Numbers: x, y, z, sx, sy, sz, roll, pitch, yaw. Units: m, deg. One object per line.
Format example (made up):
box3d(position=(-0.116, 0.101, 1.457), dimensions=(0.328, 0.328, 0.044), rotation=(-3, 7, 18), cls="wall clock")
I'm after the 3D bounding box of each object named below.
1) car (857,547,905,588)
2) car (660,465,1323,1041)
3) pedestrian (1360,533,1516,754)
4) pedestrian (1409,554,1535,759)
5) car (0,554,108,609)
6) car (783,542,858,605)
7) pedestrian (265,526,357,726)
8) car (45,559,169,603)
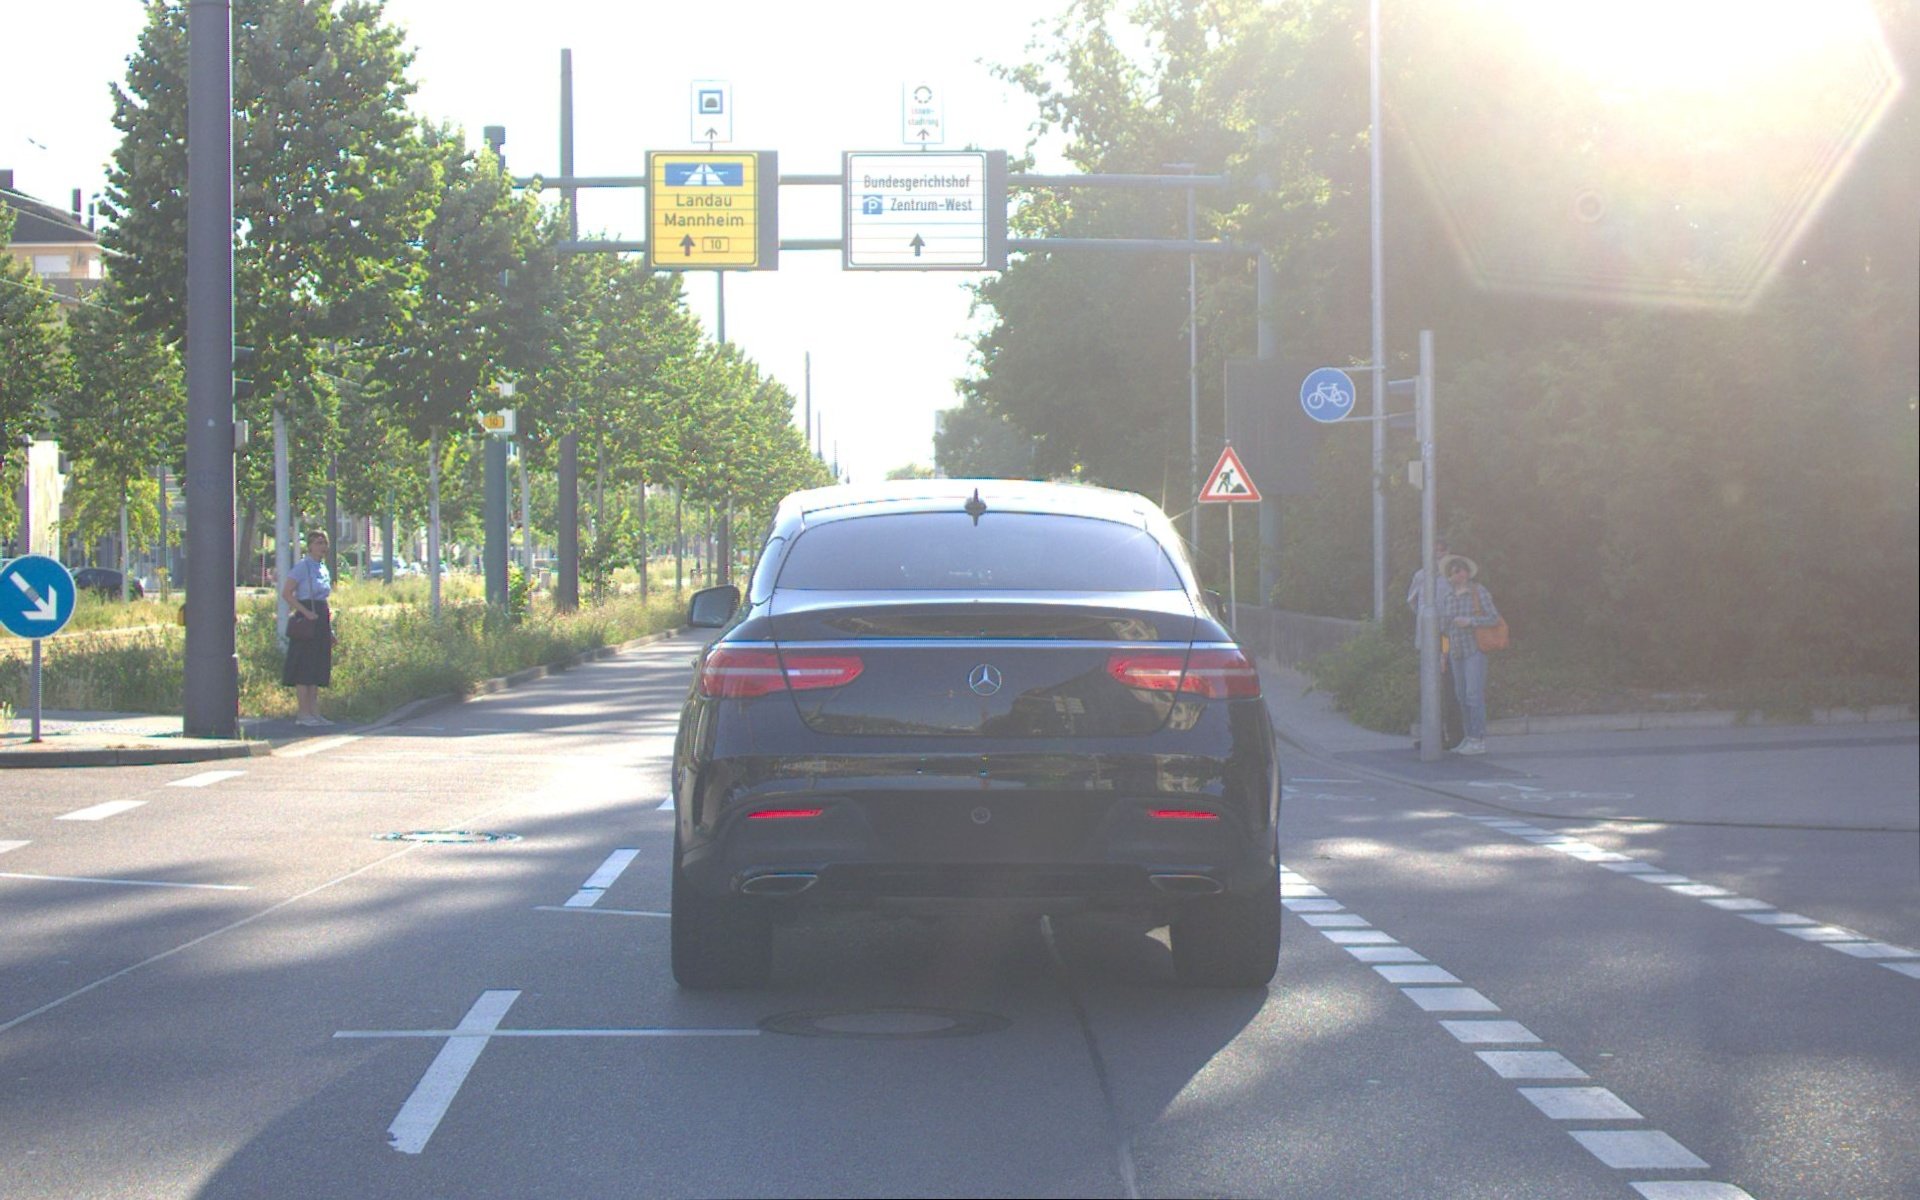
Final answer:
box3d(position=(-3.189, -1.333, 139.463), dimensions=(1.885, 1.575, 4.000), rotation=(1, 1, -1), cls="car")
box3d(position=(-0.001, 0.437, 12.450), dimensions=(1.993, 1.728, 4.001), rotation=(1, 1, -3), cls="car")
box3d(position=(4.025, 0.359, 28.995), dimensions=(0.857, 1.796, 0.907), rotation=(-3, 1, -35), cls="pedestrian")
box3d(position=(4.199, 0.451, 28.228), dimensions=(0.766, 1.631, 0.770), rotation=(-2, 1, -10), cls="pedestrian")
box3d(position=(-31.441, -0.630, 118.166), dimensions=(3.748, 1.823, 1.824), rotation=(0, 1, -40), cls="car")
box3d(position=(-3.709, -0.724, 91.714), dimensions=(1.885, 1.575, 4.000), rotation=(1, 1, -1), cls="car")
box3d(position=(-5.579, 0.216, 29.572), dimensions=(0.598, 1.693, 0.714), rotation=(0, 1, 5), cls="pedestrian")
box3d(position=(-31.723, -0.704, 127.897), dimensions=(3.989, 1.557, 1.999), rotation=(0, 1, -42), cls="car")
